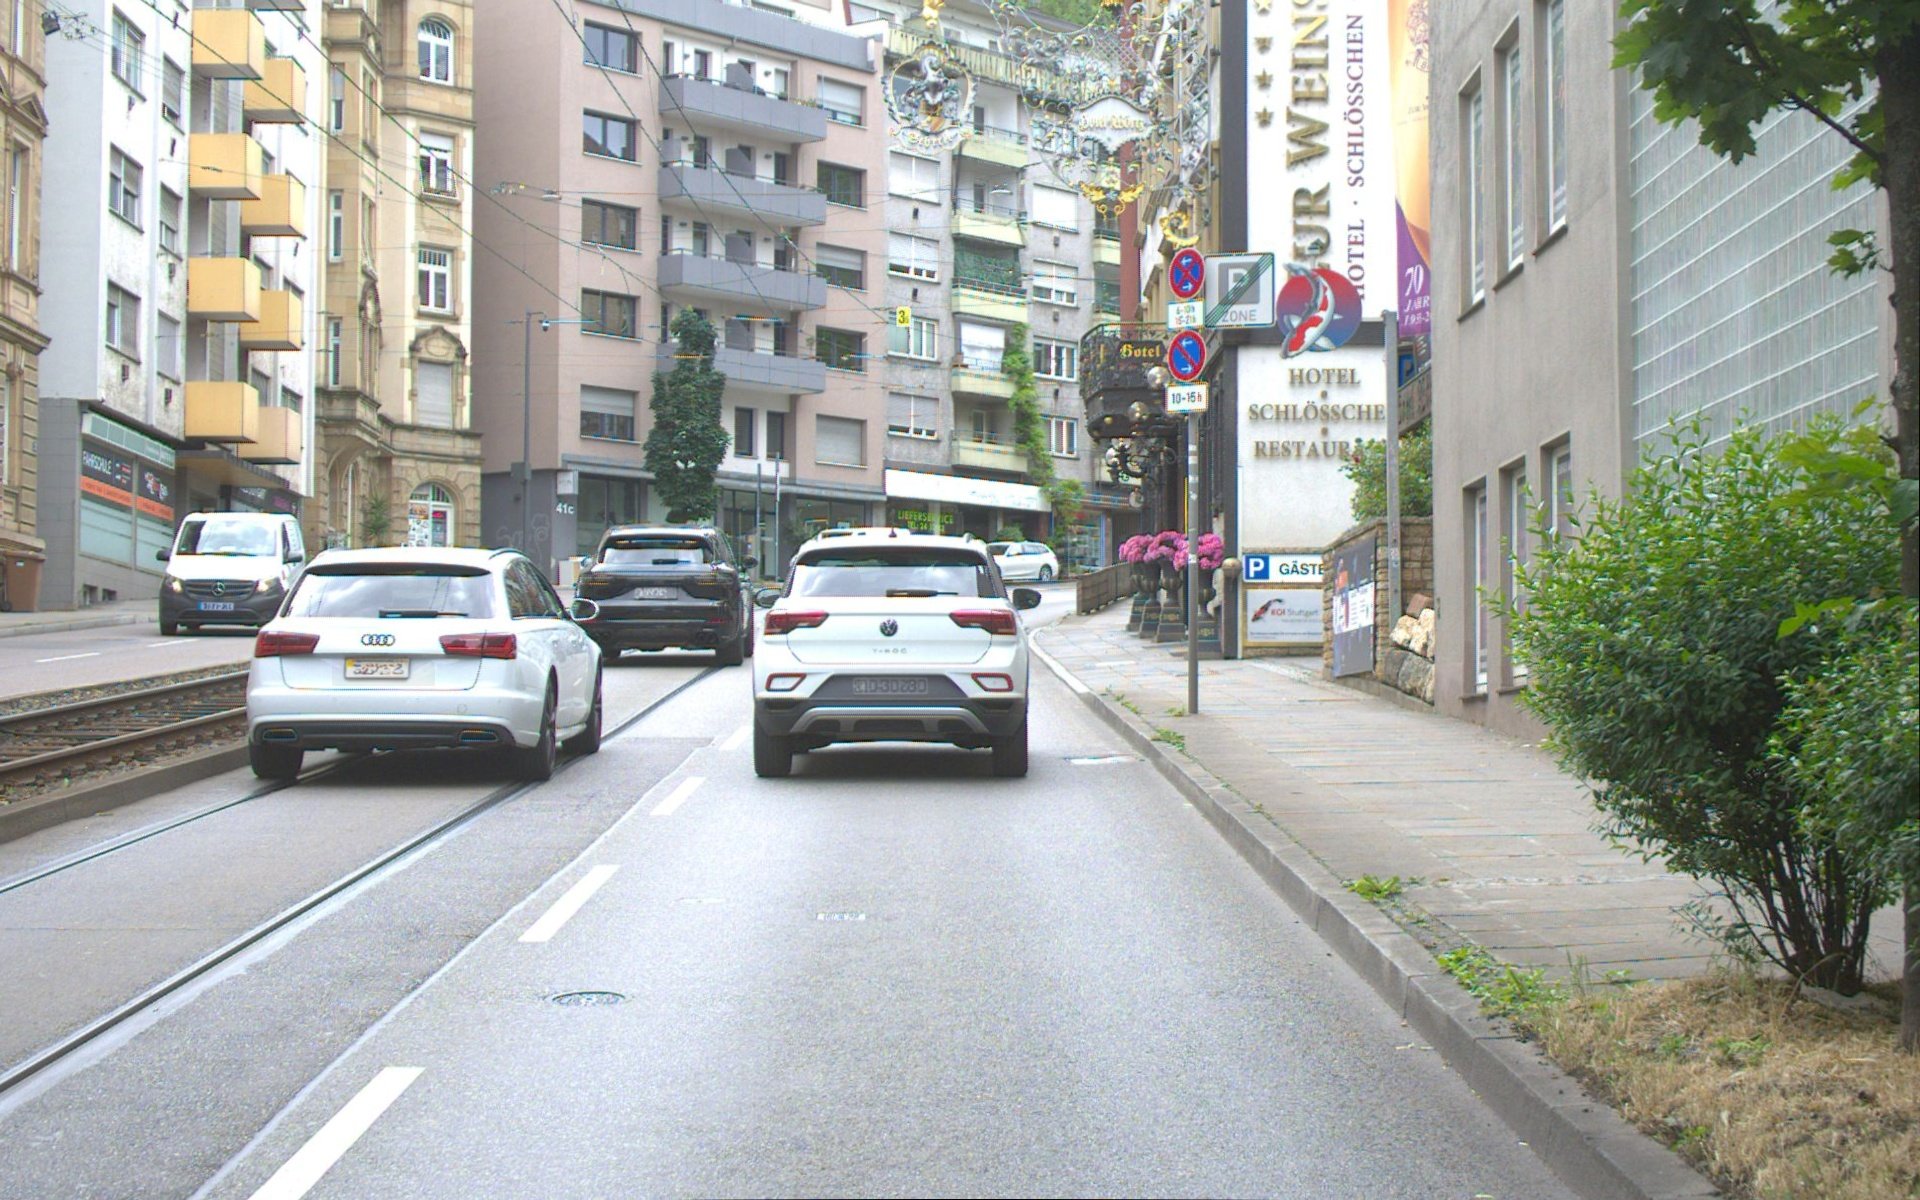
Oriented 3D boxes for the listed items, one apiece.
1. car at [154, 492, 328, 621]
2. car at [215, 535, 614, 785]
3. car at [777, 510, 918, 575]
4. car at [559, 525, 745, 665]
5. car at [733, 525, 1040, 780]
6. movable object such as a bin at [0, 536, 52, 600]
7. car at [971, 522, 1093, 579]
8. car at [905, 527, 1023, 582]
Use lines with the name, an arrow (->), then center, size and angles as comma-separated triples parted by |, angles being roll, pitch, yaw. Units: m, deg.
car -> -11.231, -0.713, 54.039 | 1.957, 1.893, 5.319 | 1, 1, -4
car -> -3.467, 0.315, 22.685 | 1.879, 1.450, 4.617 | 1, 1, 0
car -> -3.601, -1.848, 110.971 | 1.998, 2.028, 4.691 | 2, 1, 38
car -> -3.658, -0.102, 41.519 | 2.037, 1.566, 4.359 | 1, 1, -3
car -> -0.435, 0.284, 23.257 | 1.879, 1.549, 4.000 | 1, 1, 1
movable object such as a bin -> -15.959, -0.549, 58.687 | 0.770, 1.070, 0.561 | 1, 1, 0
car -> 2.480, -1.691, 117.680 | 1.907, 1.916, 4.426 | 2, 1, 37
car -> 0.146, -1.461, 109.926 | 1.797, 1.722, 3.992 | 2, 1, 35
